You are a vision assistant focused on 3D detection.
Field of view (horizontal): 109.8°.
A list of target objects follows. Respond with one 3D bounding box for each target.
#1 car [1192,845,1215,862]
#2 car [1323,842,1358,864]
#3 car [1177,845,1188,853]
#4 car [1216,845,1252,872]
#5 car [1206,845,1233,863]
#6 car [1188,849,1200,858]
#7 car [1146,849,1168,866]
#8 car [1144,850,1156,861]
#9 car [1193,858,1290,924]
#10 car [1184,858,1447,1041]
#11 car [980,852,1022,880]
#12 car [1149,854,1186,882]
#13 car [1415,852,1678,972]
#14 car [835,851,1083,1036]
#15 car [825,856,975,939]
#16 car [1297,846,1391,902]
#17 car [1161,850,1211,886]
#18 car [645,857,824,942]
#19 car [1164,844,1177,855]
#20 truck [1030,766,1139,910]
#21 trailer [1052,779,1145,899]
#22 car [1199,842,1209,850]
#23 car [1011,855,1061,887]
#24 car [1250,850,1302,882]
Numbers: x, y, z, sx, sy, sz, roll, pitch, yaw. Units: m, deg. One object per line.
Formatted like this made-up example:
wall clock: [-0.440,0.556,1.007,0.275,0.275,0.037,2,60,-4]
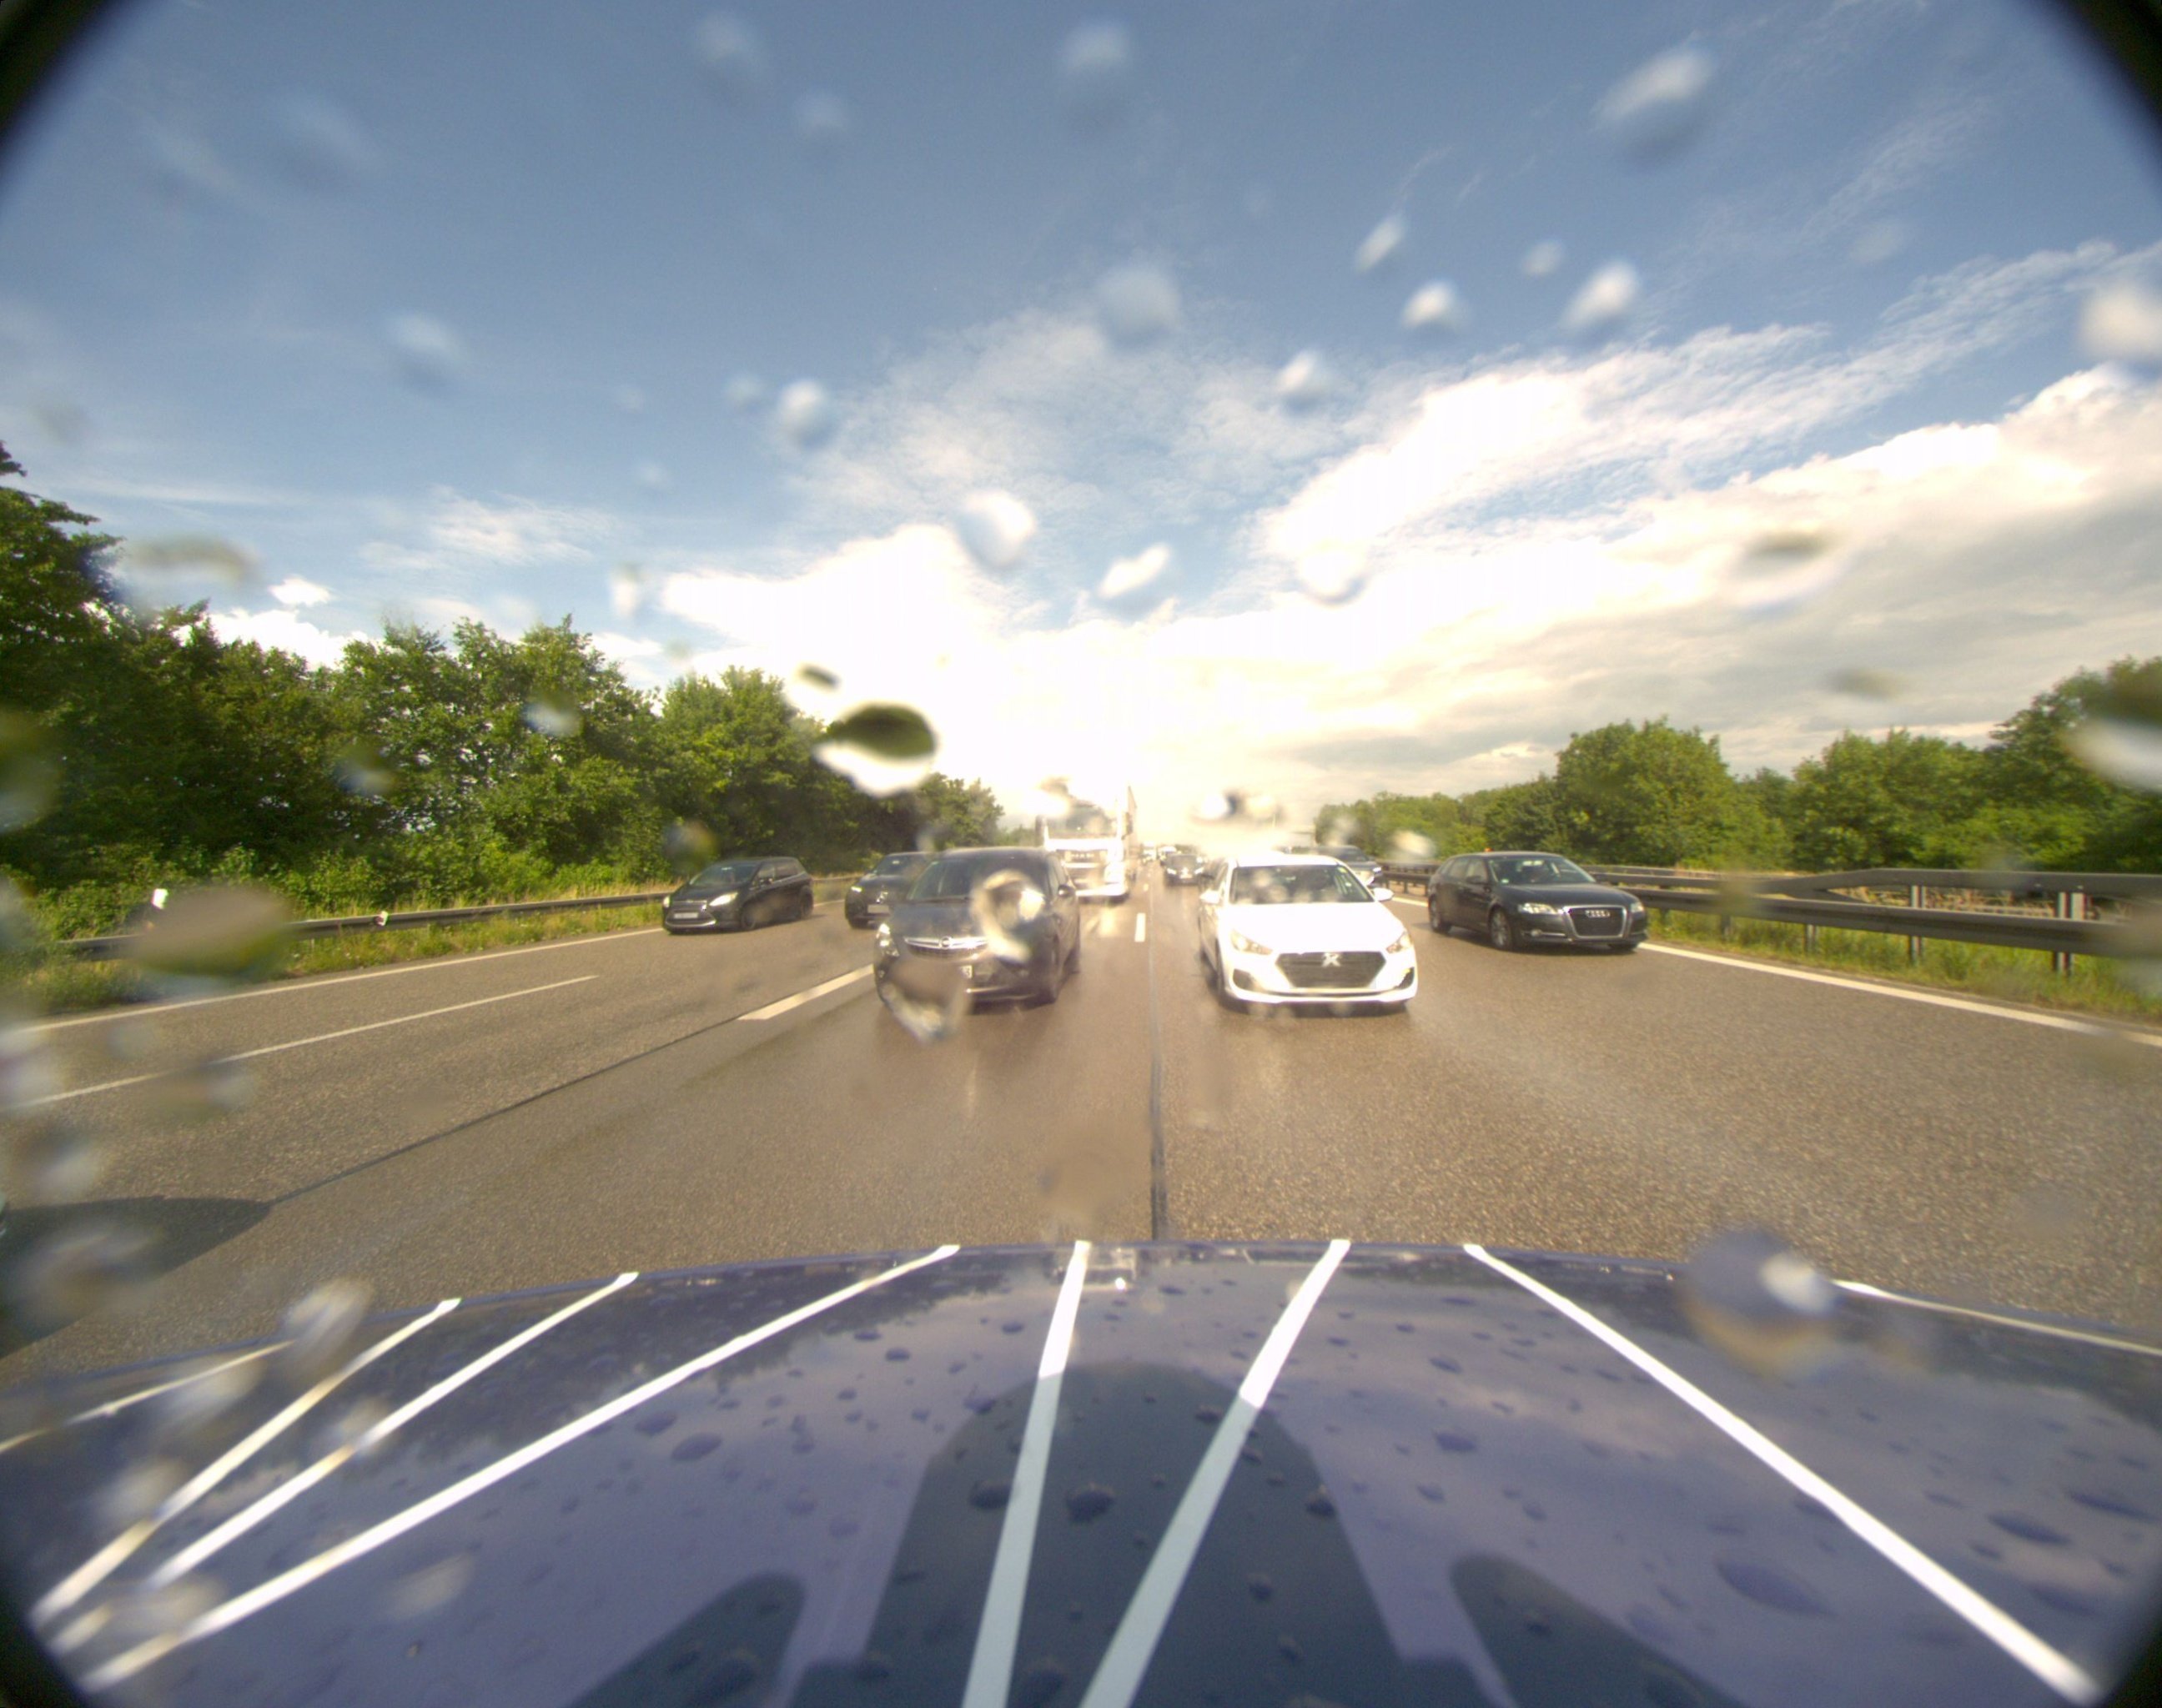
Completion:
car: [13.293,-0.062,82.642,1.998,1.687,4.000,-2,1,4]
car: [24.448,-0.115,71.836,1.998,2.002,4.654,-1,0,4]
car: [22.562,-1.095,168.765,1.998,1.687,4.000,-2,1,4]
car: [10.832,0.308,54.058,1.998,1.739,4.000,-2,1,4]
car: [12.634,0.005,69.553,1.998,1.471,4.000,-2,1,4]
car: [22.019,-0.103,148.509,1.998,1.687,4.000,-2,1,4]
car: [7.547,0.336,75.404,1.998,1.471,4.000,-2,1,4]
car: [12.009,0.236,132.623,1.998,1.687,4.000,-2,1,4]
car: [3.730,0.806,18.346,1.728,1.330,4.288,-1,0,5]
car: [2.252,0.822,8.597,1.885,1.446,4.549,-1,0,5]
car: [-4.922,0.686,47.086,1.752,1.577,4.287,-2,1,5]
car: [5.222,0.833,46.377,1.998,1.471,4.000,-2,1,4]
car: [6.744,0.728,11.607,1.770,1.417,4.140,-2,1,6]
car: [-1.100,0.805,9.022,1.883,1.638,4.397,-1,0,5]
car: [-3.947,0.880,17.507,1.998,1.572,4.654,-1,0,5]
car: [8.217,0.563,24.161,1.874,1.597,4.230,-1,1,6]
car: [4.727,0.584,34.732,1.998,1.478,4.000,0,2,4]
car: [-7.787,0.942,17.614,1.824,1.611,4.365,-2,0,5]
car: [15.723,-0.802,133.505,1.998,1.687,4.000,-2,1,4]
truck: [0.382,-0.505,25.859,2.816,4.083,7.448,-2,1,6]
trailer: [1.090,-0.596,32.275,2.789,4.083,11.542,-2,1,6]
car: [28.787,-1.890,178.086,1.998,1.768,4.462,-1,0,5]
car: [-2.176,0.779,37.675,1.755,1.402,4.513,-2,0,5]
car: [9.411,0.557,37.025,1.771,1.371,4.000,-1,1,4]
